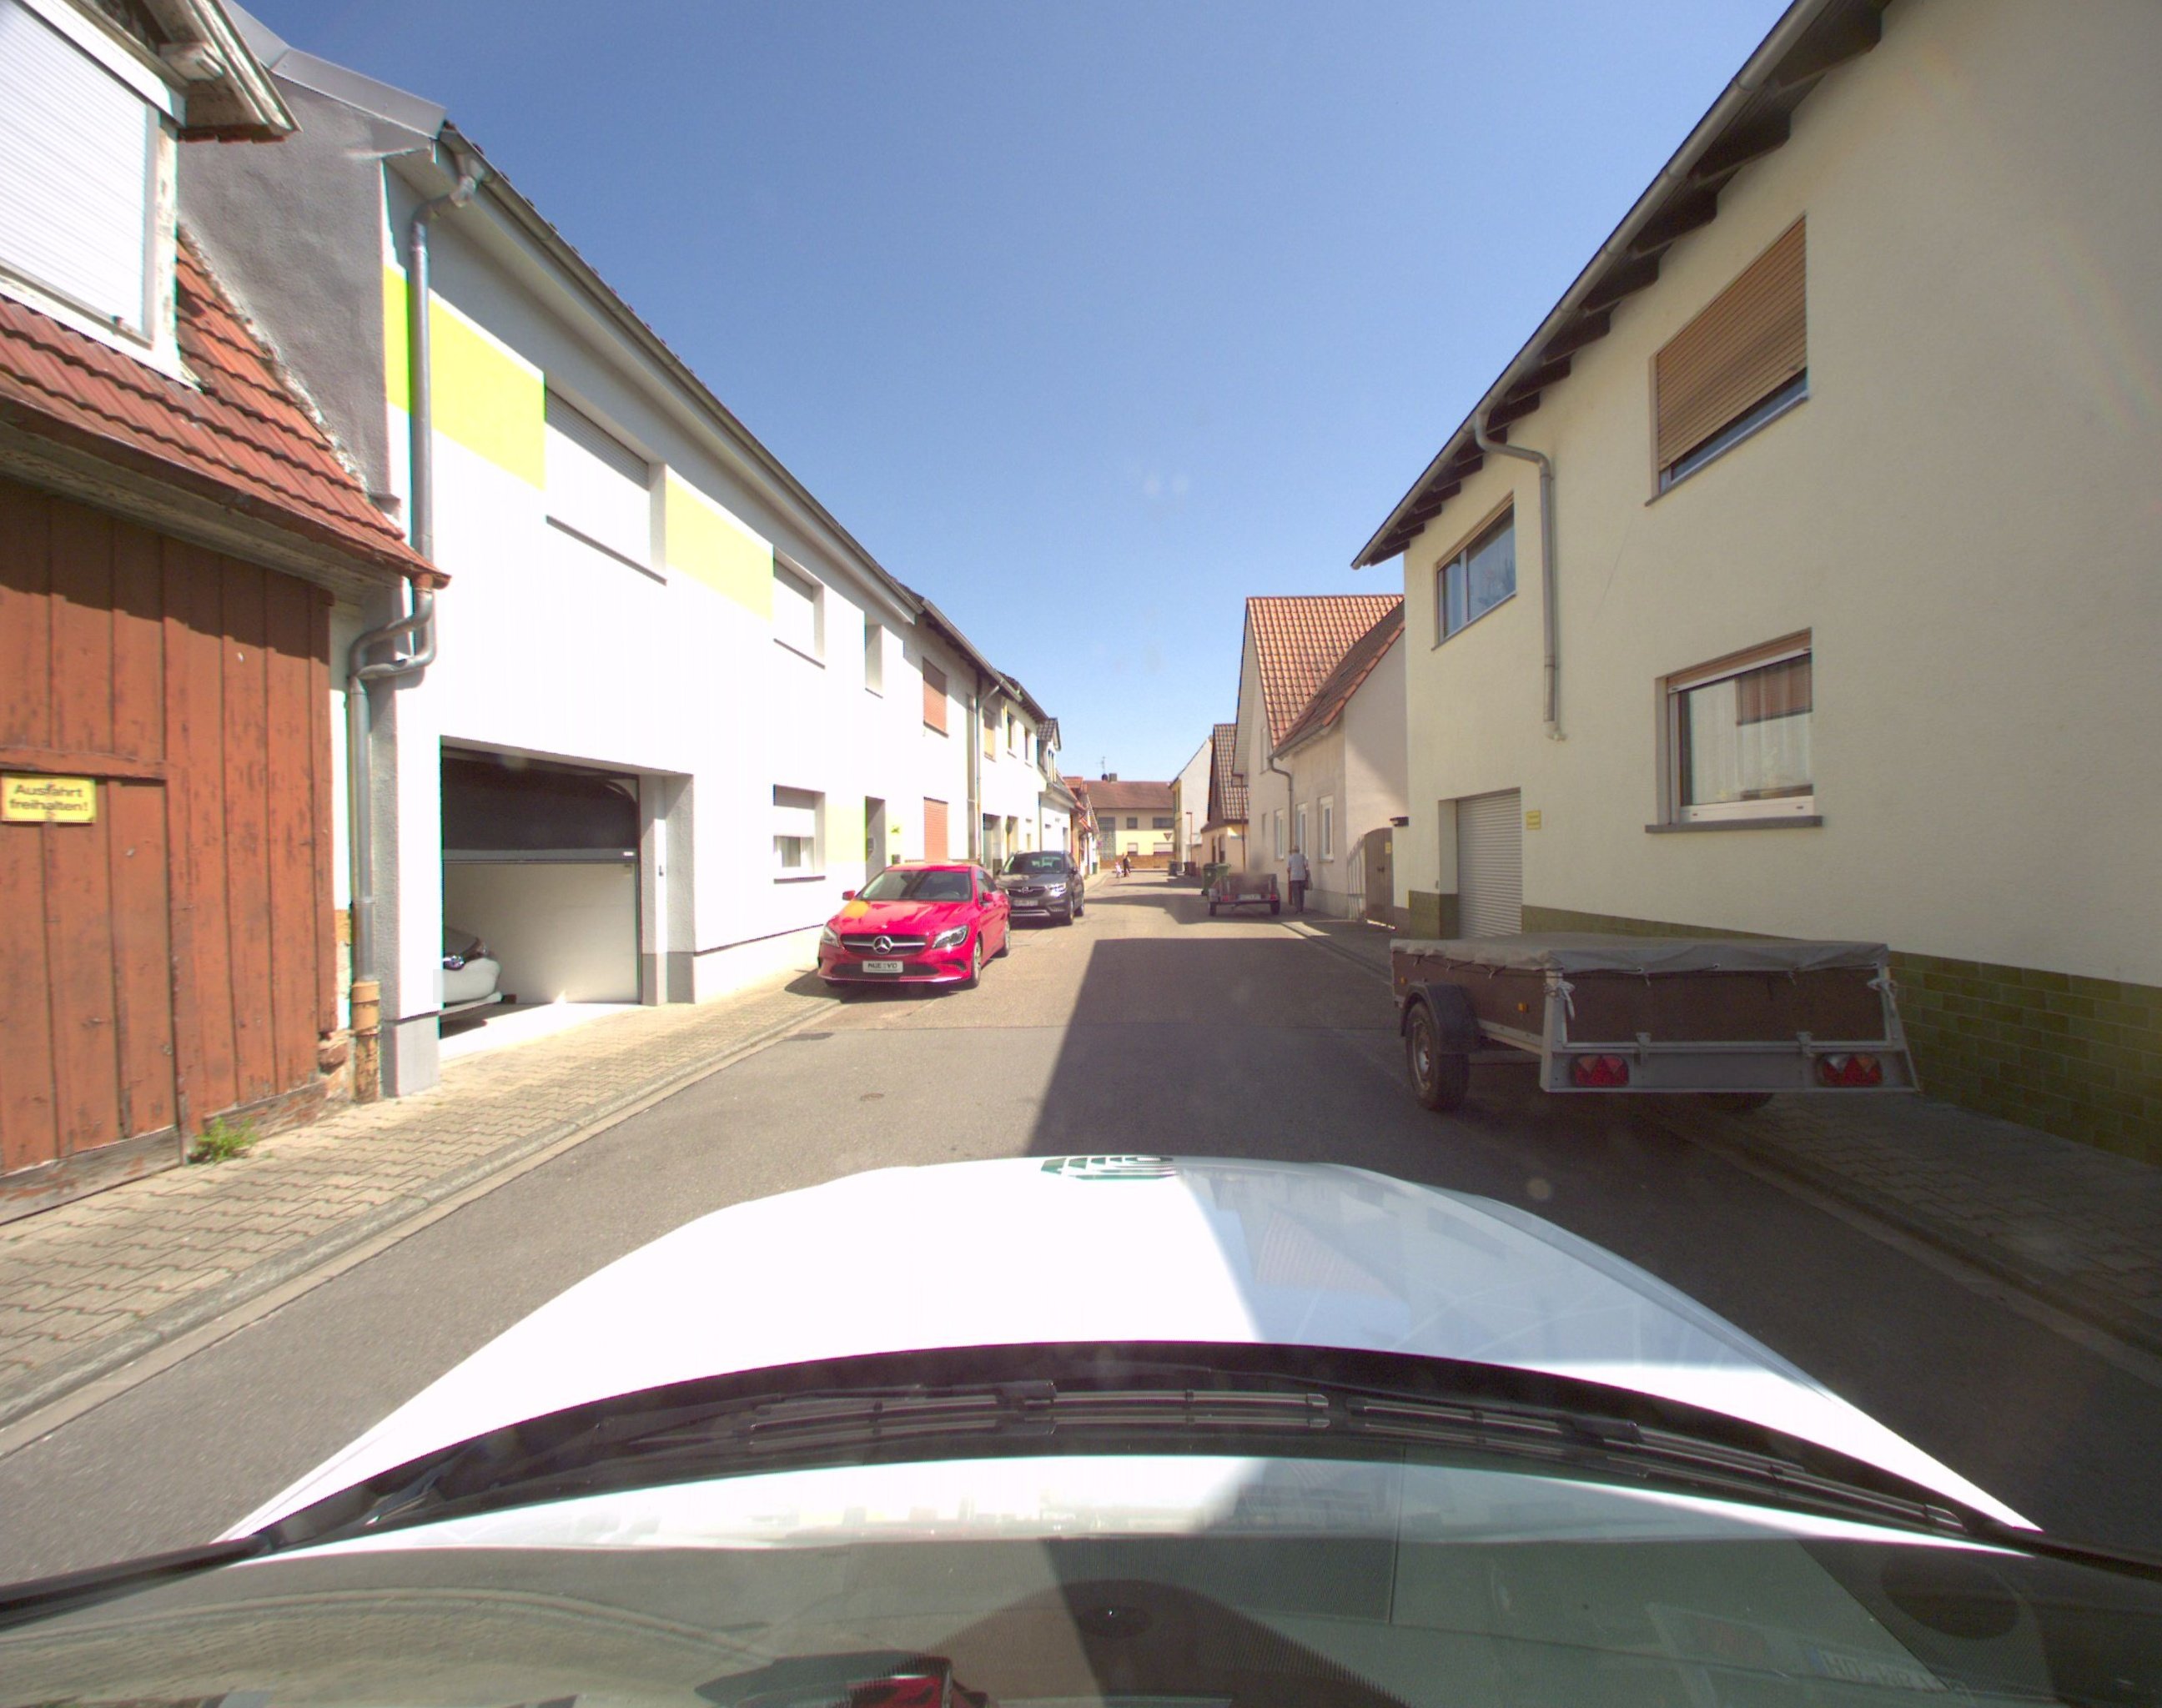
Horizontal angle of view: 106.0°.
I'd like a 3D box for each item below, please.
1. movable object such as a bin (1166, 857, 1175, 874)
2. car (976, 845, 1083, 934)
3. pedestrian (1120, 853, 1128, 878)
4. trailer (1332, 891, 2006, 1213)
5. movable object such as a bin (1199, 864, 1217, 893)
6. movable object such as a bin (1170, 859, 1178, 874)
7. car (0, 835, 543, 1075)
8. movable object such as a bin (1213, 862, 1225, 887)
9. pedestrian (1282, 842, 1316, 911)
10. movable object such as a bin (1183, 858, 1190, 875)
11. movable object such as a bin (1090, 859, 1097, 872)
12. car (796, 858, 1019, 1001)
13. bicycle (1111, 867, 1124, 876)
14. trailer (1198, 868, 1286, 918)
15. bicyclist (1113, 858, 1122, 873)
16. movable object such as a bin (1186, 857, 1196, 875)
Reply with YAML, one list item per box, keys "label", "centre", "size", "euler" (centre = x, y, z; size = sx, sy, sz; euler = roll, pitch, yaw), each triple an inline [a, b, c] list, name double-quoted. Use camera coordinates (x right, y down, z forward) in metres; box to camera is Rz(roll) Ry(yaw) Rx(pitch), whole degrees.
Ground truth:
- label: "movable object such as a bin"
  centre: [6.121, 0.757, 55.622]
  size: [0.567, 1.128, 0.454]
  euler: [-1, -1, 1]
- label: "car"
  centre: [-1.026, 0.711, 18.513]
  size: [1.792, 1.704, 4.492]
  euler: [-2, 0, 4]
- label: "pedestrian"
  centre: [2.830, 0.745, 53.534]
  size: [0.411, 1.610, 0.367]
  euler: [-1, -1, -6]
- label: "trailer"
  centre: [2.863, 0.875, 4.996]
  size: [1.809, 1.090, 3.485]
  euler: [-1, 0, 4]
- label: "movable object such as a bin"
  centre: [4.692, 0.899, 30.117]
  size: [0.582, 1.033, 0.596]
  euler: [-2, 0, 2]
- label: "movable object such as a bin"
  centre: [6.287, 0.823, 55.003]
  size: [0.422, 0.975, 0.473]
  euler: [-1, 0, 1]
- label: "car"
  centre: [-6.925, 0.721, 6.564]
  size: [3.968, 1.618, 1.835]
  euler: [-1, 0, 4]
- label: "movable object such as a bin"
  centre: [6.198, 0.916, 36.513]
  size: [0.456, 1.087, 0.503]
  euler: [-1, -1, 3]
- label: "pedestrian"
  centre: [5.076, 0.537, 18.972]
  size: [0.593, 1.565, 0.557]
  euler: [-1, -4, 1]
- label: "movable object such as a bin"
  centre: [7.038, 0.836, 54.397]
  size: [0.424, 1.128, 0.414]
  euler: [-1, -1, 1]
- label: "movable object such as a bin"
  centre: [0.952, 0.877, 61.346]
  size: [0.447, 0.921, 0.404]
  euler: [-1, 0, 1]
- label: "car"
  centre: [-1.991, 0.805, 10.797]
  size: [1.793, 1.441, 4.490]
  euler: [-2, 0, 2]
- label: "bicycle"
  centre: [2.394, 1.120, 53.000]
  size: [0.443, 0.567, 0.931]
  euler: [-1, 0, -25]
- label: "trailer"
  centre: [3.862, 0.906, 20.011]
  size: [1.692, 1.033, 3.485]
  euler: [-1, 0, 4]
- label: "bicyclist"
  centre: [2.398, 0.760, 52.982]
  size: [0.463, 0.959, 0.349]
  euler: [-1, -1, -25]
- label: "movable object such as a bin"
  centre: [7.003, 0.754, 51.827]
  size: [0.523, 1.128, 0.366]
  euler: [-1, -1, 1]
